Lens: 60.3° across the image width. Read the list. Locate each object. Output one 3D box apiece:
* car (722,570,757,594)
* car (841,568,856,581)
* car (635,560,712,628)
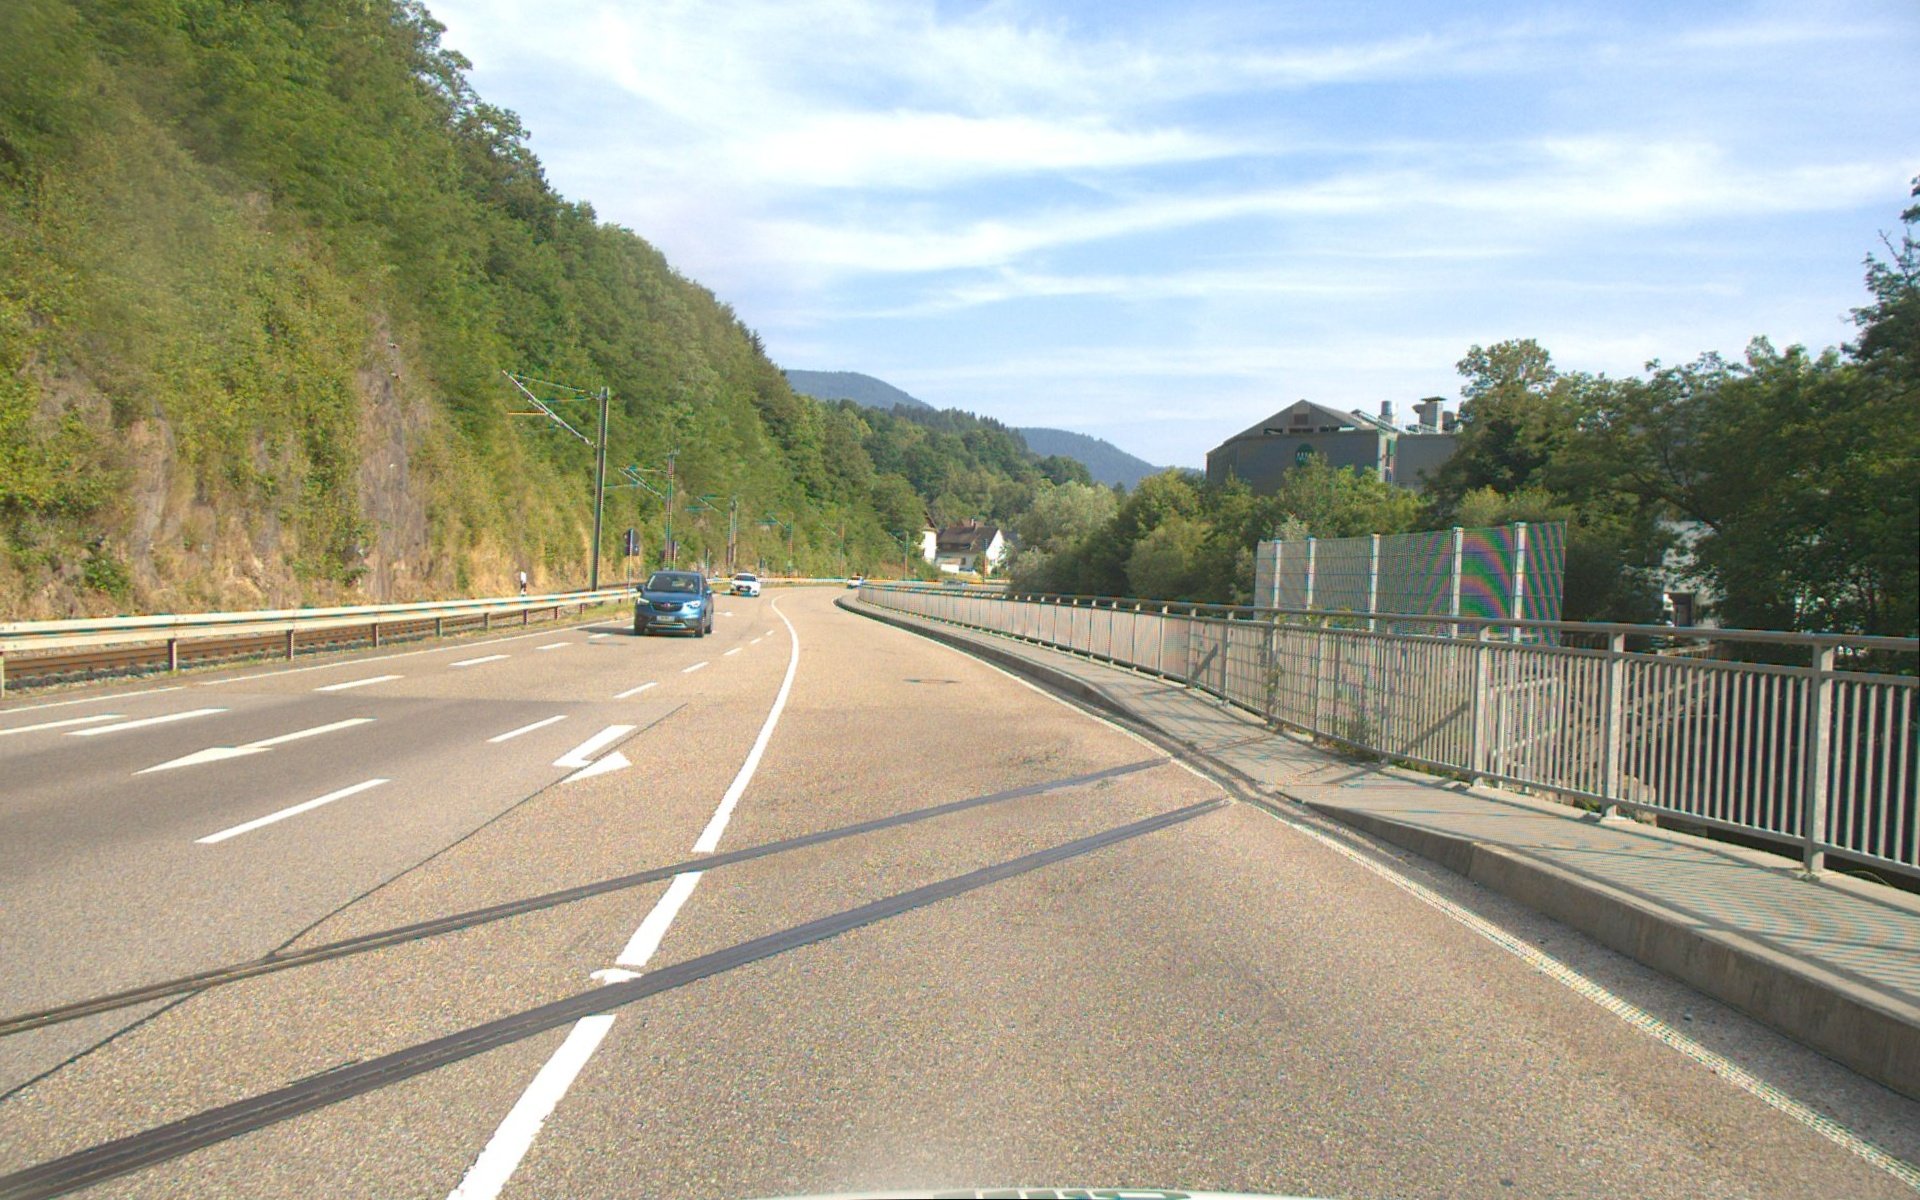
[{"bbox_3d":[-14.578,-1.205,109.705,2.023,1.464,4.681,2,1,-5],"label":"car"},{"bbox_3d":[-13.825,-3.214,204.725,1.811,1.571,4.600,1,1,-4],"label":"car"},{"bbox_3d":[-7.252,-0.180,42.130,1.686,1.598,4.129,1,1,-7],"label":"car"}]
